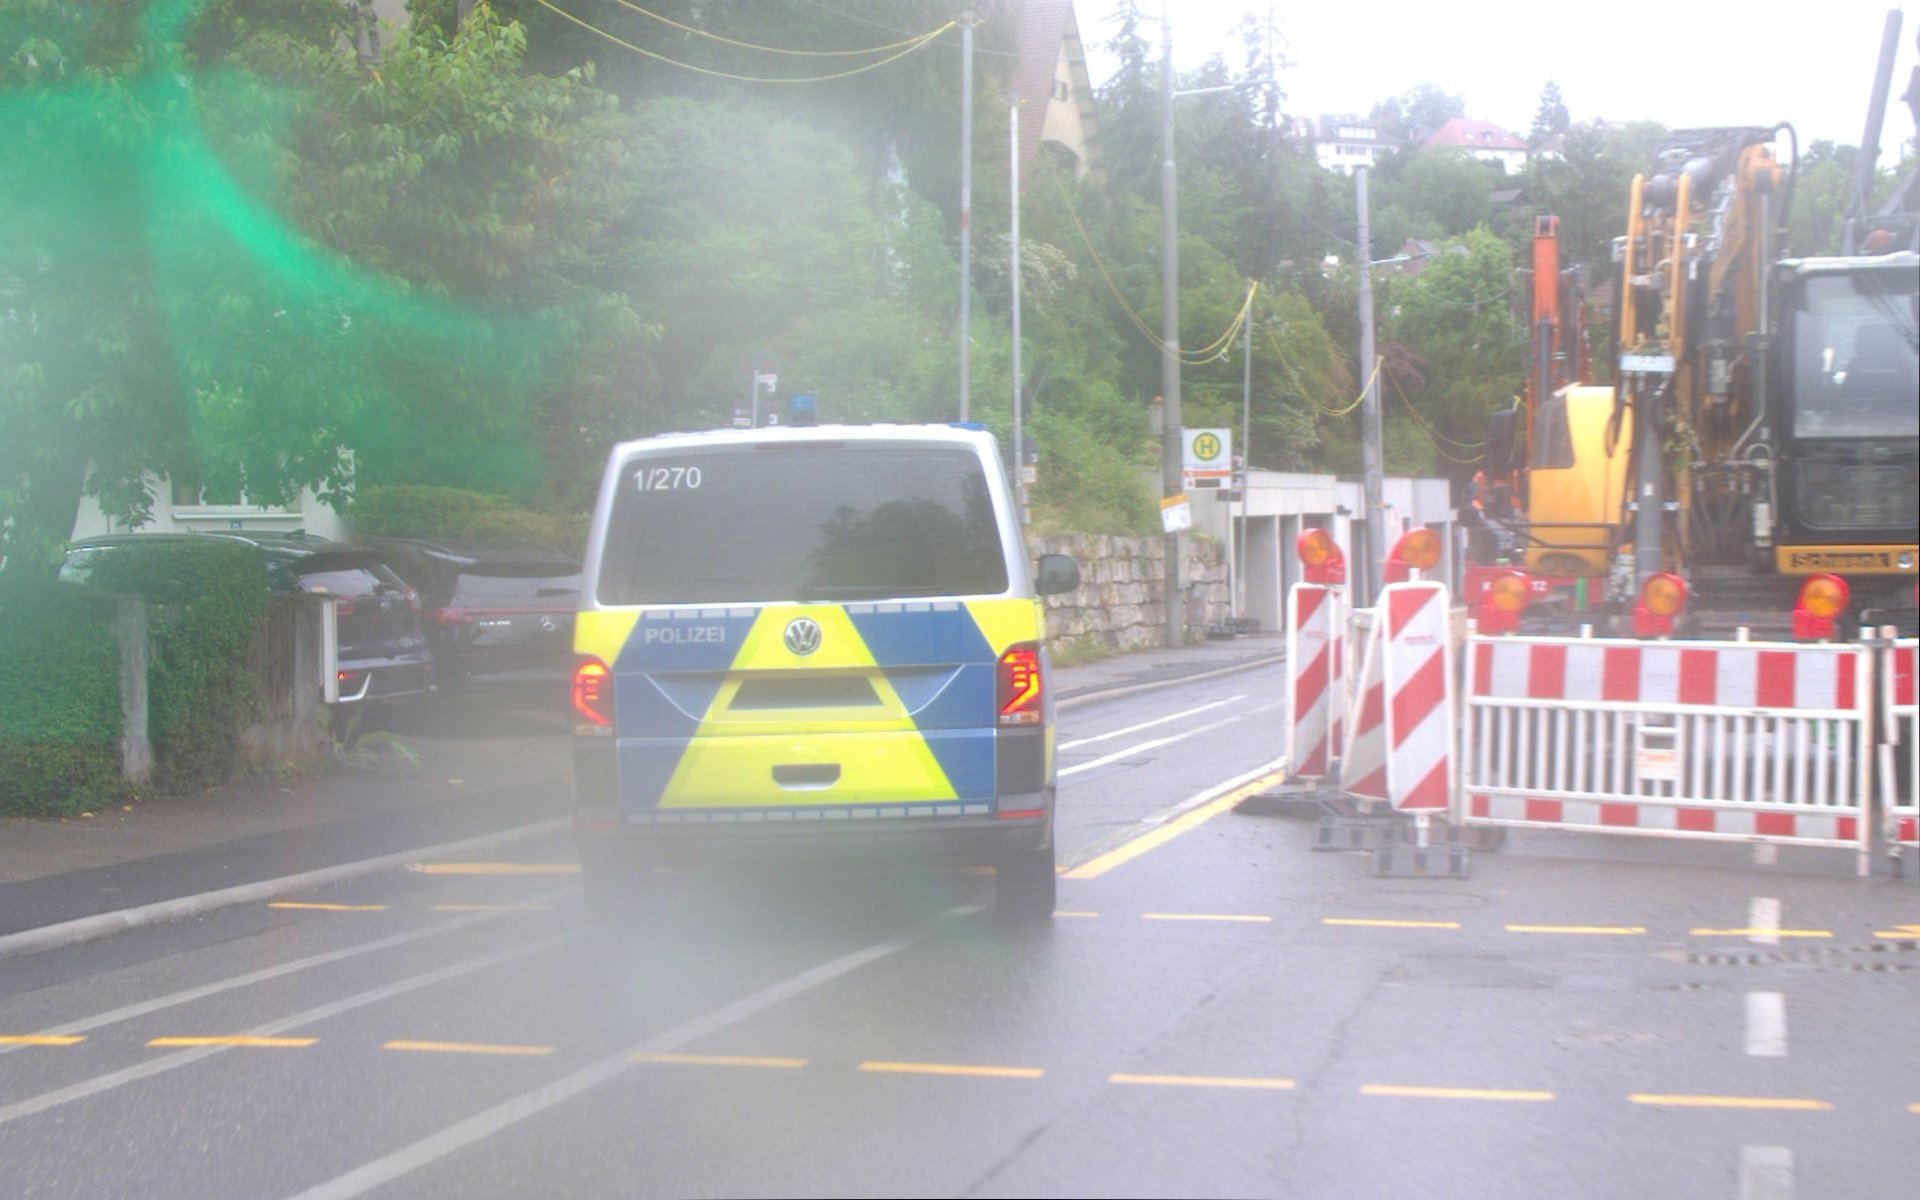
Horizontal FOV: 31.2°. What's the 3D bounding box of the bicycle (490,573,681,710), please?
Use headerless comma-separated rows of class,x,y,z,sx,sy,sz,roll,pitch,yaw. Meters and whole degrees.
bicycle,-3.205,0.347,29.370,1.620,1.127,0.442,1,0,27

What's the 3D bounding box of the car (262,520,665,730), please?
car,-3.992,0.159,27.109,1.780,1.520,4.000,1,1,-30

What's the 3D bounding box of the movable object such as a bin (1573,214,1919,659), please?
movable object such as a bin,11.202,-1.877,43.081,3.691,5.049,7.145,-1,0,41

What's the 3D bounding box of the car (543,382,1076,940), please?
car,-0.629,0.218,14.714,1.908,2.003,4.440,1,0,-2

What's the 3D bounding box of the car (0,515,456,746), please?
car,-5.820,0.182,24.409,3.991,1.520,1.938,1,0,22

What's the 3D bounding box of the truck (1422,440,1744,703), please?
truck,5.444,-0.225,29.719,2.552,2.101,3.302,-1,0,13

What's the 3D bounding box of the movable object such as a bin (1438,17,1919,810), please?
movable object such as a bin,4.643,-1.018,20.495,2.881,4.156,4.484,-1,1,16

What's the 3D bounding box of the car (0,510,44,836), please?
car,-7.301,-0.034,17.317,4.969,1.611,1.861,11,6,23
